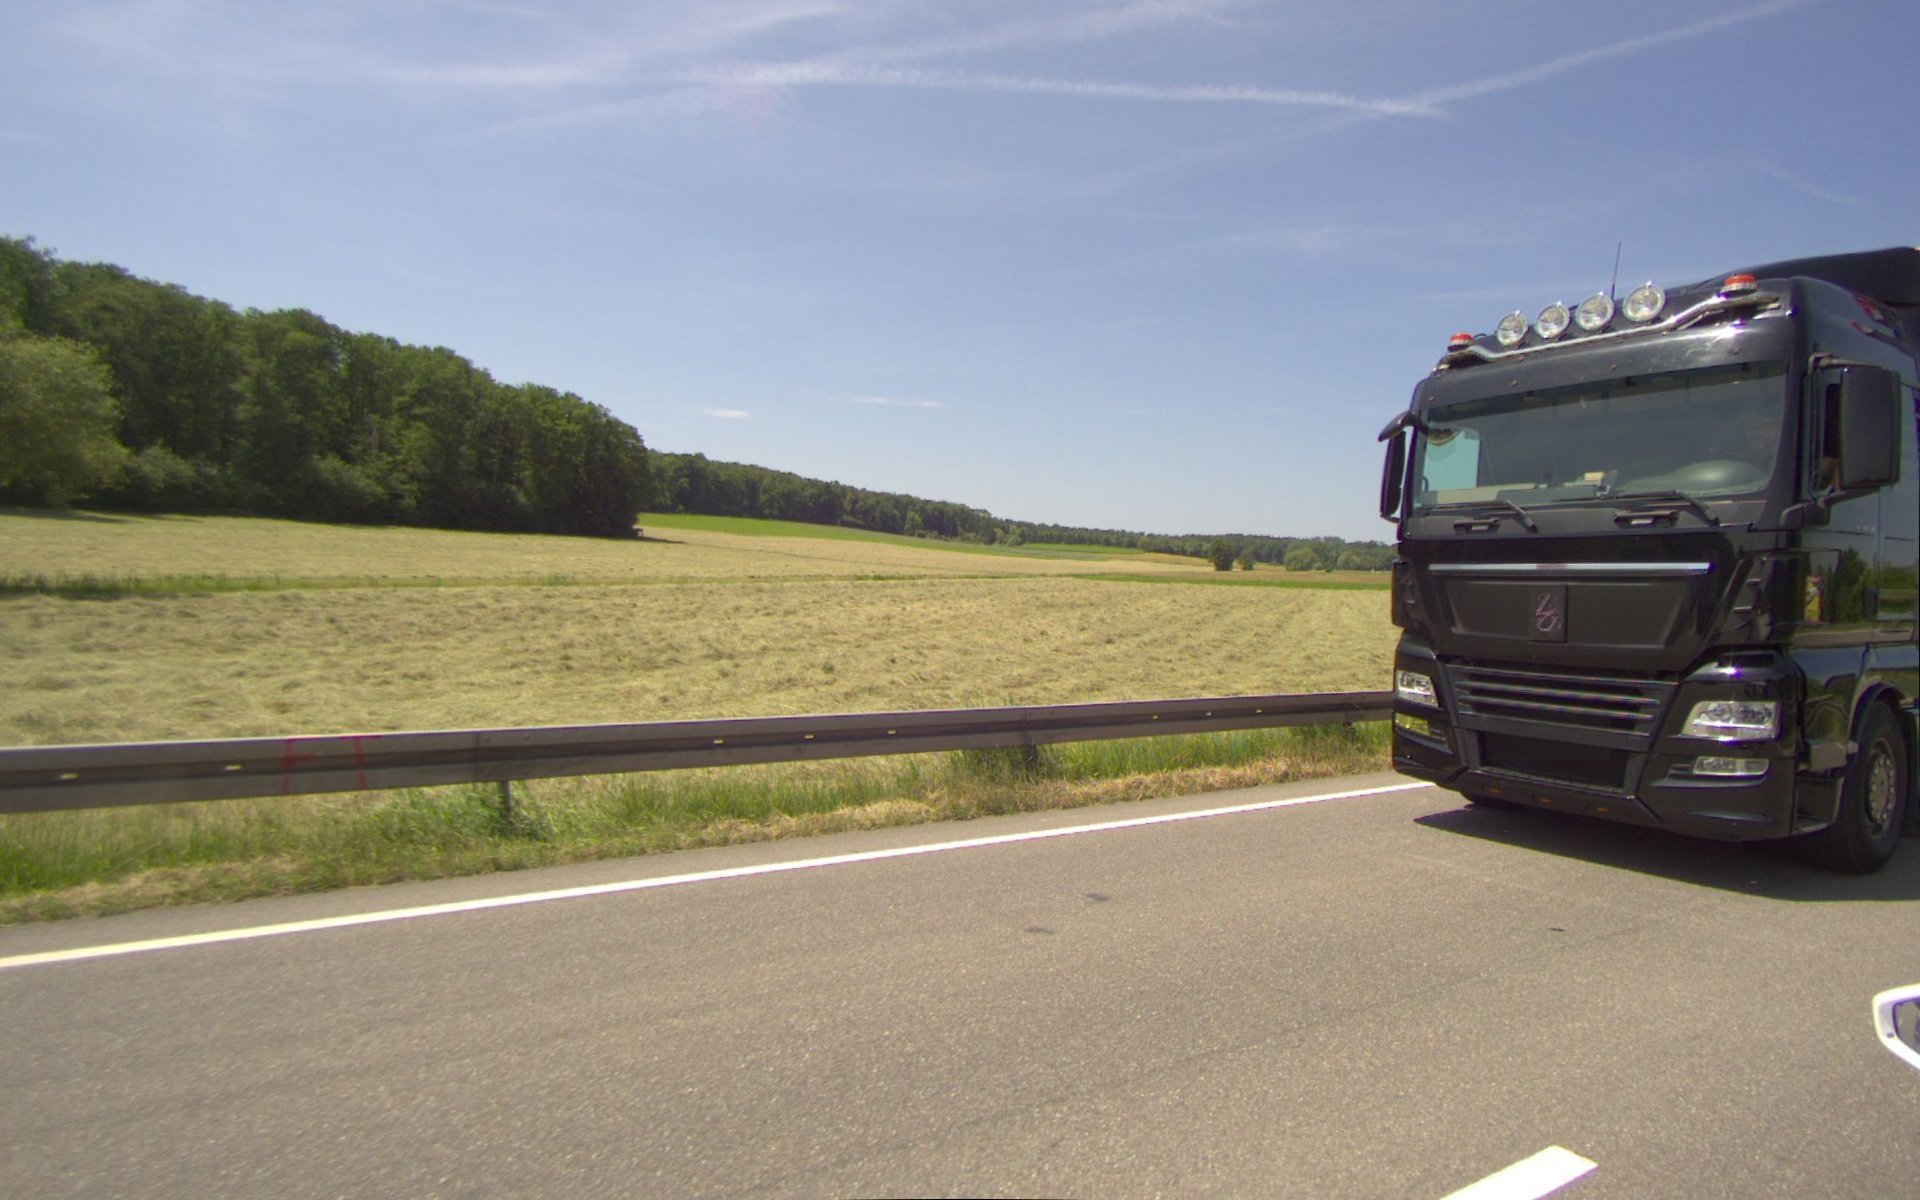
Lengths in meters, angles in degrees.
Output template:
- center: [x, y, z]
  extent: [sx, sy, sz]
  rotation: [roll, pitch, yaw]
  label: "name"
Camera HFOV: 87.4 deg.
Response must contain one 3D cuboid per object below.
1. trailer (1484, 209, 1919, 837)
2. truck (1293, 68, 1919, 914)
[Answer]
- center: [11.621, -0.402, 11.840]
  extent: [14.293, 4.205, 3.221]
  rotation: [1, 0, -34]
  label: "trailer"
- center: [6.181, -0.489, 8.190]
  extent: [6.582, 4.205, 3.221]
  rotation: [1, 0, -34]
  label: "truck"
